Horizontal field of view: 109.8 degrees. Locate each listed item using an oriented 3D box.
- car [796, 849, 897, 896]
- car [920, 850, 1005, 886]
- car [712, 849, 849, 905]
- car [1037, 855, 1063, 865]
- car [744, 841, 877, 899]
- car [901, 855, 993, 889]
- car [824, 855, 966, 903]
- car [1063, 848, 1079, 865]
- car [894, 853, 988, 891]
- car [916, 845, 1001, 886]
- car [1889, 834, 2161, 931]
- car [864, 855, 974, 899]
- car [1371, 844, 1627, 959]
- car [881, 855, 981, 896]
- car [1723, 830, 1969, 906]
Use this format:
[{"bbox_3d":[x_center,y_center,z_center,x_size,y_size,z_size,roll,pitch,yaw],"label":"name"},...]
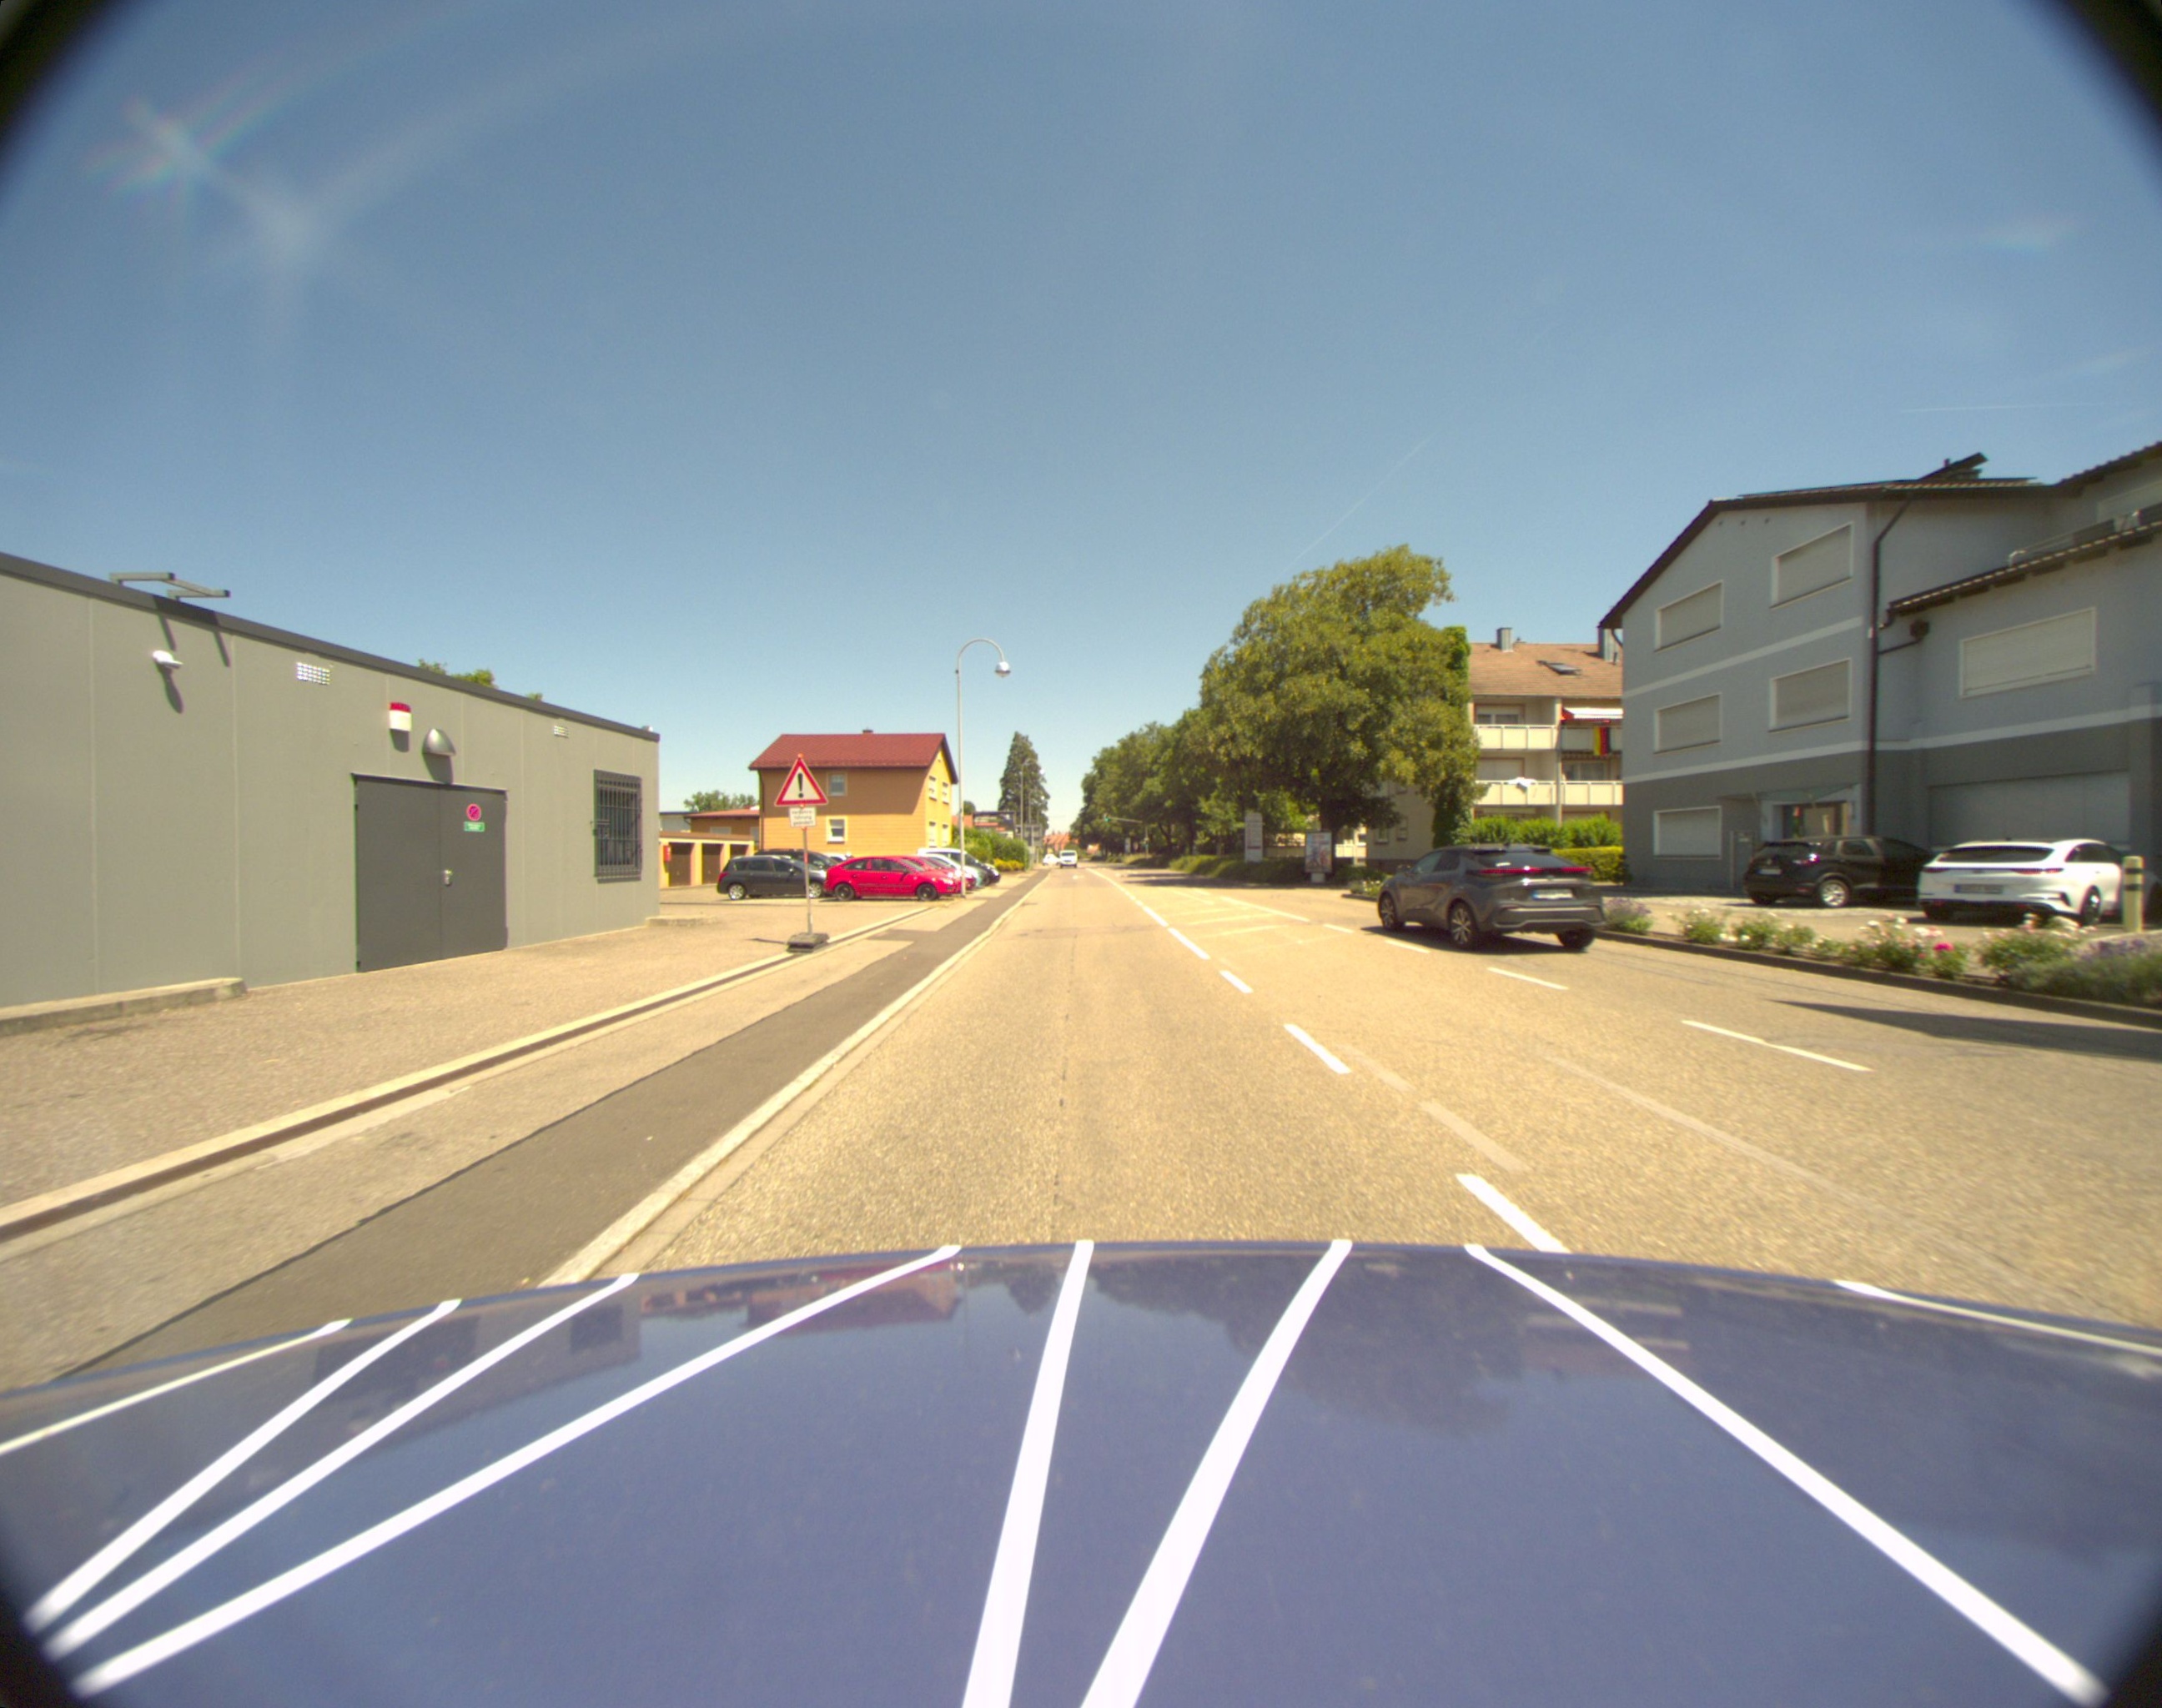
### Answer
[{"bbox_3d":[-10.582,0.818,34.476,3.903,1.827,1.688,-4,1,1],"label":"car"},{"bbox_3d":[-5.679,0.663,36.651,3.886,1.671,1.763,0,0,-3],"label":"car"},{"bbox_3d":[-10.670,0.804,27.181,4.050,1.658,1.782,-4,1,-1],"label":"car"},{"bbox_3d":[-4.432,0.864,110.092,3.638,1.375,1.627,-1,1,0],"label":"car"},{"bbox_3d":[-10.455,0.604,29.646,4.352,1.885,1.971,-4,1,-3],"label":"car"},{"bbox_3d":[-6.000,0.782,34.387,3.802,1.501,1.833,0,0,0],"label":"car"},{"bbox_3d":[-6.082,0.808,25.258,4.235,1.525,1.958,0,0,-1],"label":"car"},{"bbox_3d":[-1.154,0.276,86.293,1.796,1.904,3.639,-1,1,-2],"label":"car"},{"bbox_3d":[-5.896,0.751,32.270,3.694,1.557,1.641,0,0,-2],"label":"car"},{"bbox_3d":[-6.170,0.568,38.739,4.147,1.927,1.807,-1,0,-6],"label":"car"},{"bbox_3d":[16.499,0.407,13.211,4.359,1.430,1.936,-1,1,-22],"label":"car"},{"bbox_3d":[-5.855,0.824,27.729,3.695,1.557,1.708,0,0,-4],"label":"car"},{"bbox_3d":[6.295,0.621,12.090,1.767,1.518,4.137,0,0,0],"label":"car"},{"bbox_3d":[-5.869,0.834,30.035,3.695,1.557,1.749,0,0,-4],"label":"car"},{"bbox_3d":[17.037,0.289,17.080,3.569,1.556,1.969,-1,1,0],"label":"car"}]
